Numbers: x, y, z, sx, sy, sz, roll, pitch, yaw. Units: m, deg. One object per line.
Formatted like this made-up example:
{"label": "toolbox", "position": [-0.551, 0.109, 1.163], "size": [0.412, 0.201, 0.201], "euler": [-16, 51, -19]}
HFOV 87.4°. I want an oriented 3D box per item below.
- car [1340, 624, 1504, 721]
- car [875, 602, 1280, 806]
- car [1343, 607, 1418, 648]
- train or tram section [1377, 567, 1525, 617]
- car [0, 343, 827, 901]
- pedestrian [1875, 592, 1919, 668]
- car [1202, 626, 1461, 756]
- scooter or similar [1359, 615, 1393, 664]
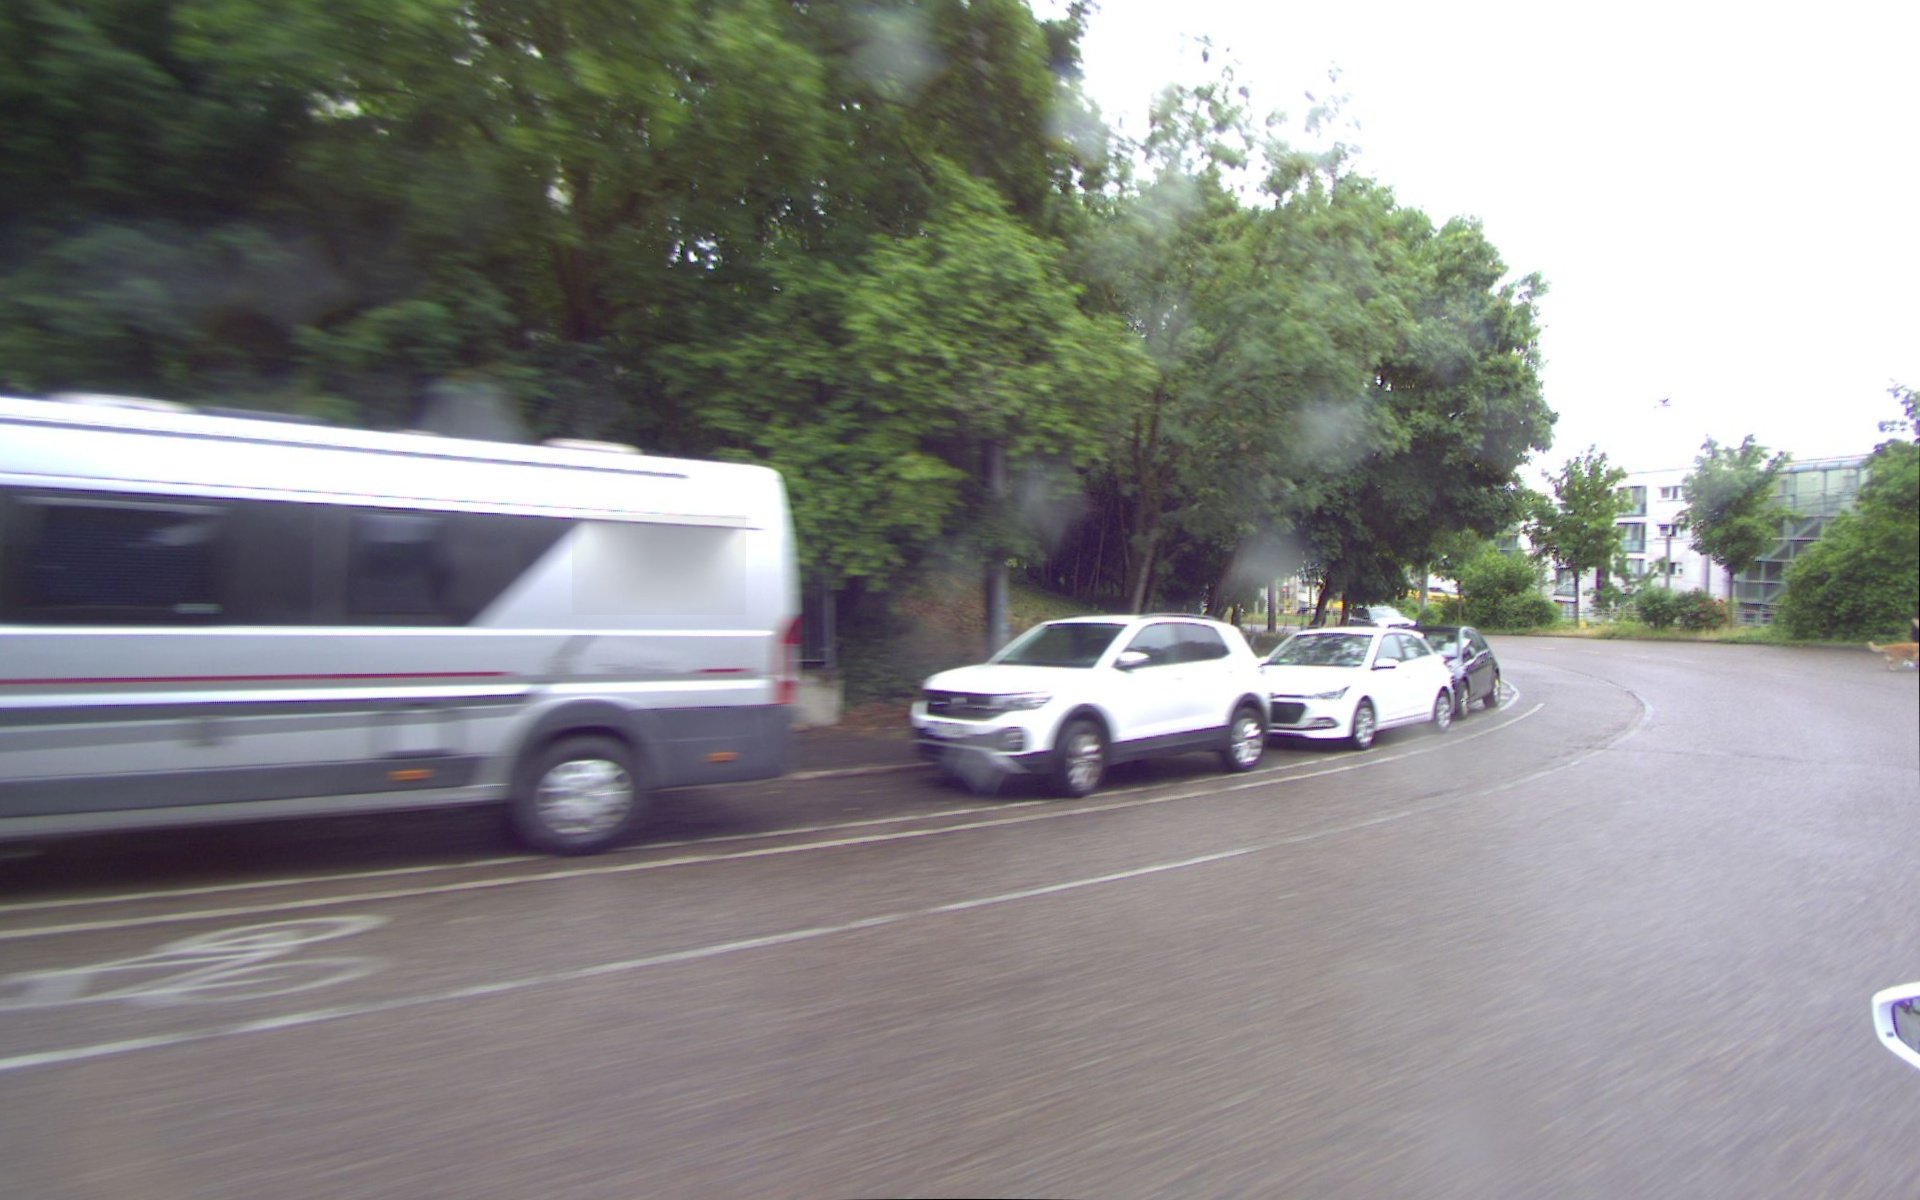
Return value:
{"label": "car", "position": [8.161, 1.169, 17.550], "size": [1.751, 1.462, 3.999], "euler": [-1, -1, 38]}
{"label": "car", "position": [1.300, 0.901, 9.919], "size": [3.995, 1.603, 1.788], "euler": [2, -3, -42]}
{"label": "car", "position": [19.789, 1.249, 47.451], "size": [1.787, 1.691, 4.310], "euler": [-3, 0, 1]}
{"label": "train or tram section", "position": [43.804, -0.628, 91.020], "size": [3.276, 4.000, 19.275], "euler": [-1, 0, -2]}
{"label": "car", "position": [-4.150, 0.133, 6.030], "size": [6.275, 2.583, 2.063], "euler": [3, 0, -31]}
{"label": "pedestrian", "position": [21.984, 0.677, 23.204], "size": [0.791, 1.683, 0.923], "euler": [-3, 0, -15]}
{"label": "car", "position": [5.116, 1.097, 13.571], "size": [4.020, 1.476, 1.735], "euler": [1, -2, -44]}
{"label": "scooter or similar", "position": [11.604, 1.088, 27.992], "size": [0.599, 1.285, 1.434], "euler": [3, 1, 32]}
